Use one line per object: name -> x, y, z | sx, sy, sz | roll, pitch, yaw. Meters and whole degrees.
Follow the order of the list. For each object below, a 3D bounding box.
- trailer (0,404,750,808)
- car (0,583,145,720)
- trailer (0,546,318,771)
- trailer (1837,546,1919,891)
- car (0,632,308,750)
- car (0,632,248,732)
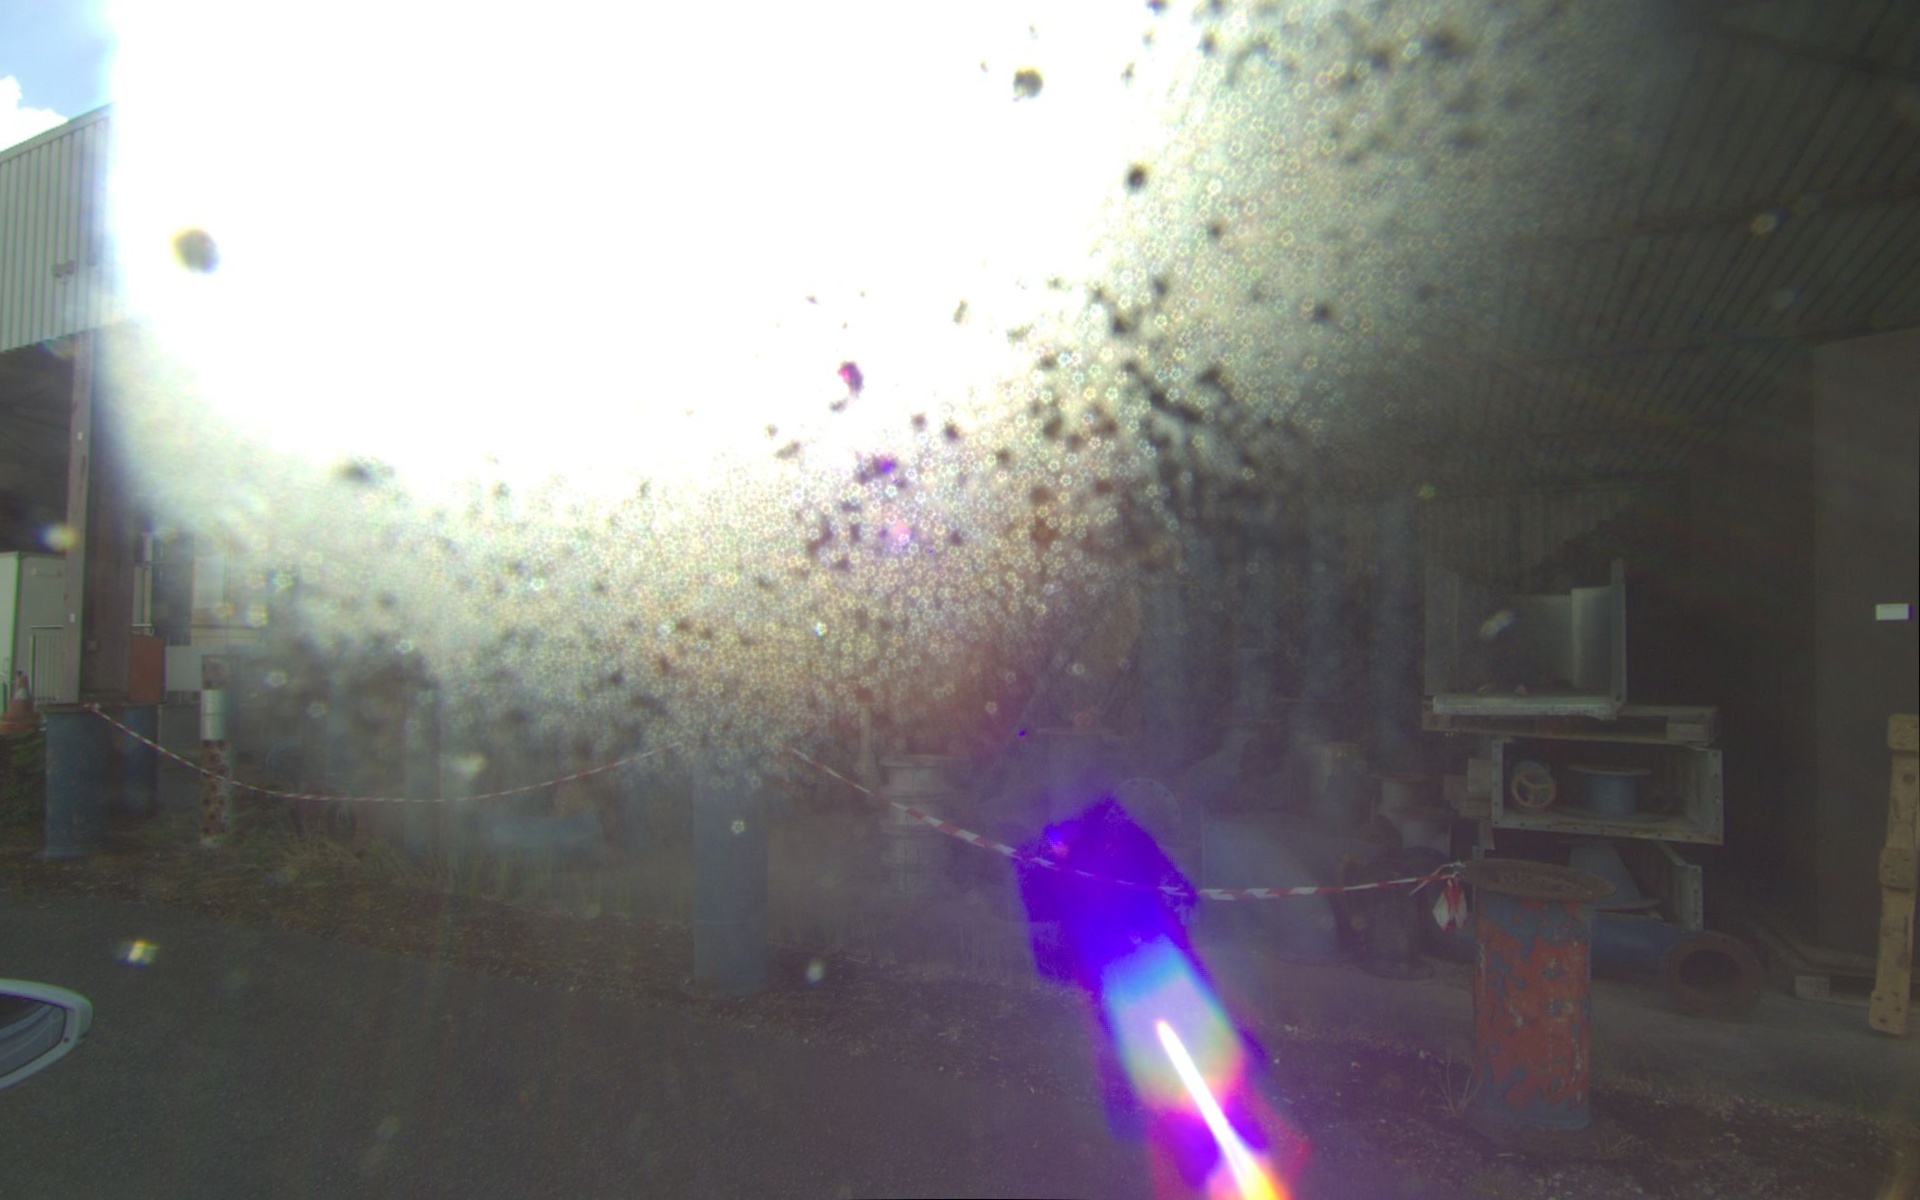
trailer -> -7.034, 0.209, 13.134 | 2.632, 3.337, 10.294 | 0, -2, 26
car -> -17.538, 0.874, 17.098 | 2.050, 2.326, 5.220 | -1, -3, 24
trailer -> -10.394, 0.655, 11.822 | 1.661, 2.365, 4.542 | 0, -2, 26
trailer -> 6.090, 0.648, 4.601 | 2.015, 2.022, 4.815 | -1, -2, 28
car -> -12.057, 1.191, 14.285 | 1.833, 1.451, 4.349 | -1, -2, 22
car -> -14.387, 1.262, 16.397 | 1.820, 1.472, 4.109 | -1, -2, 25
